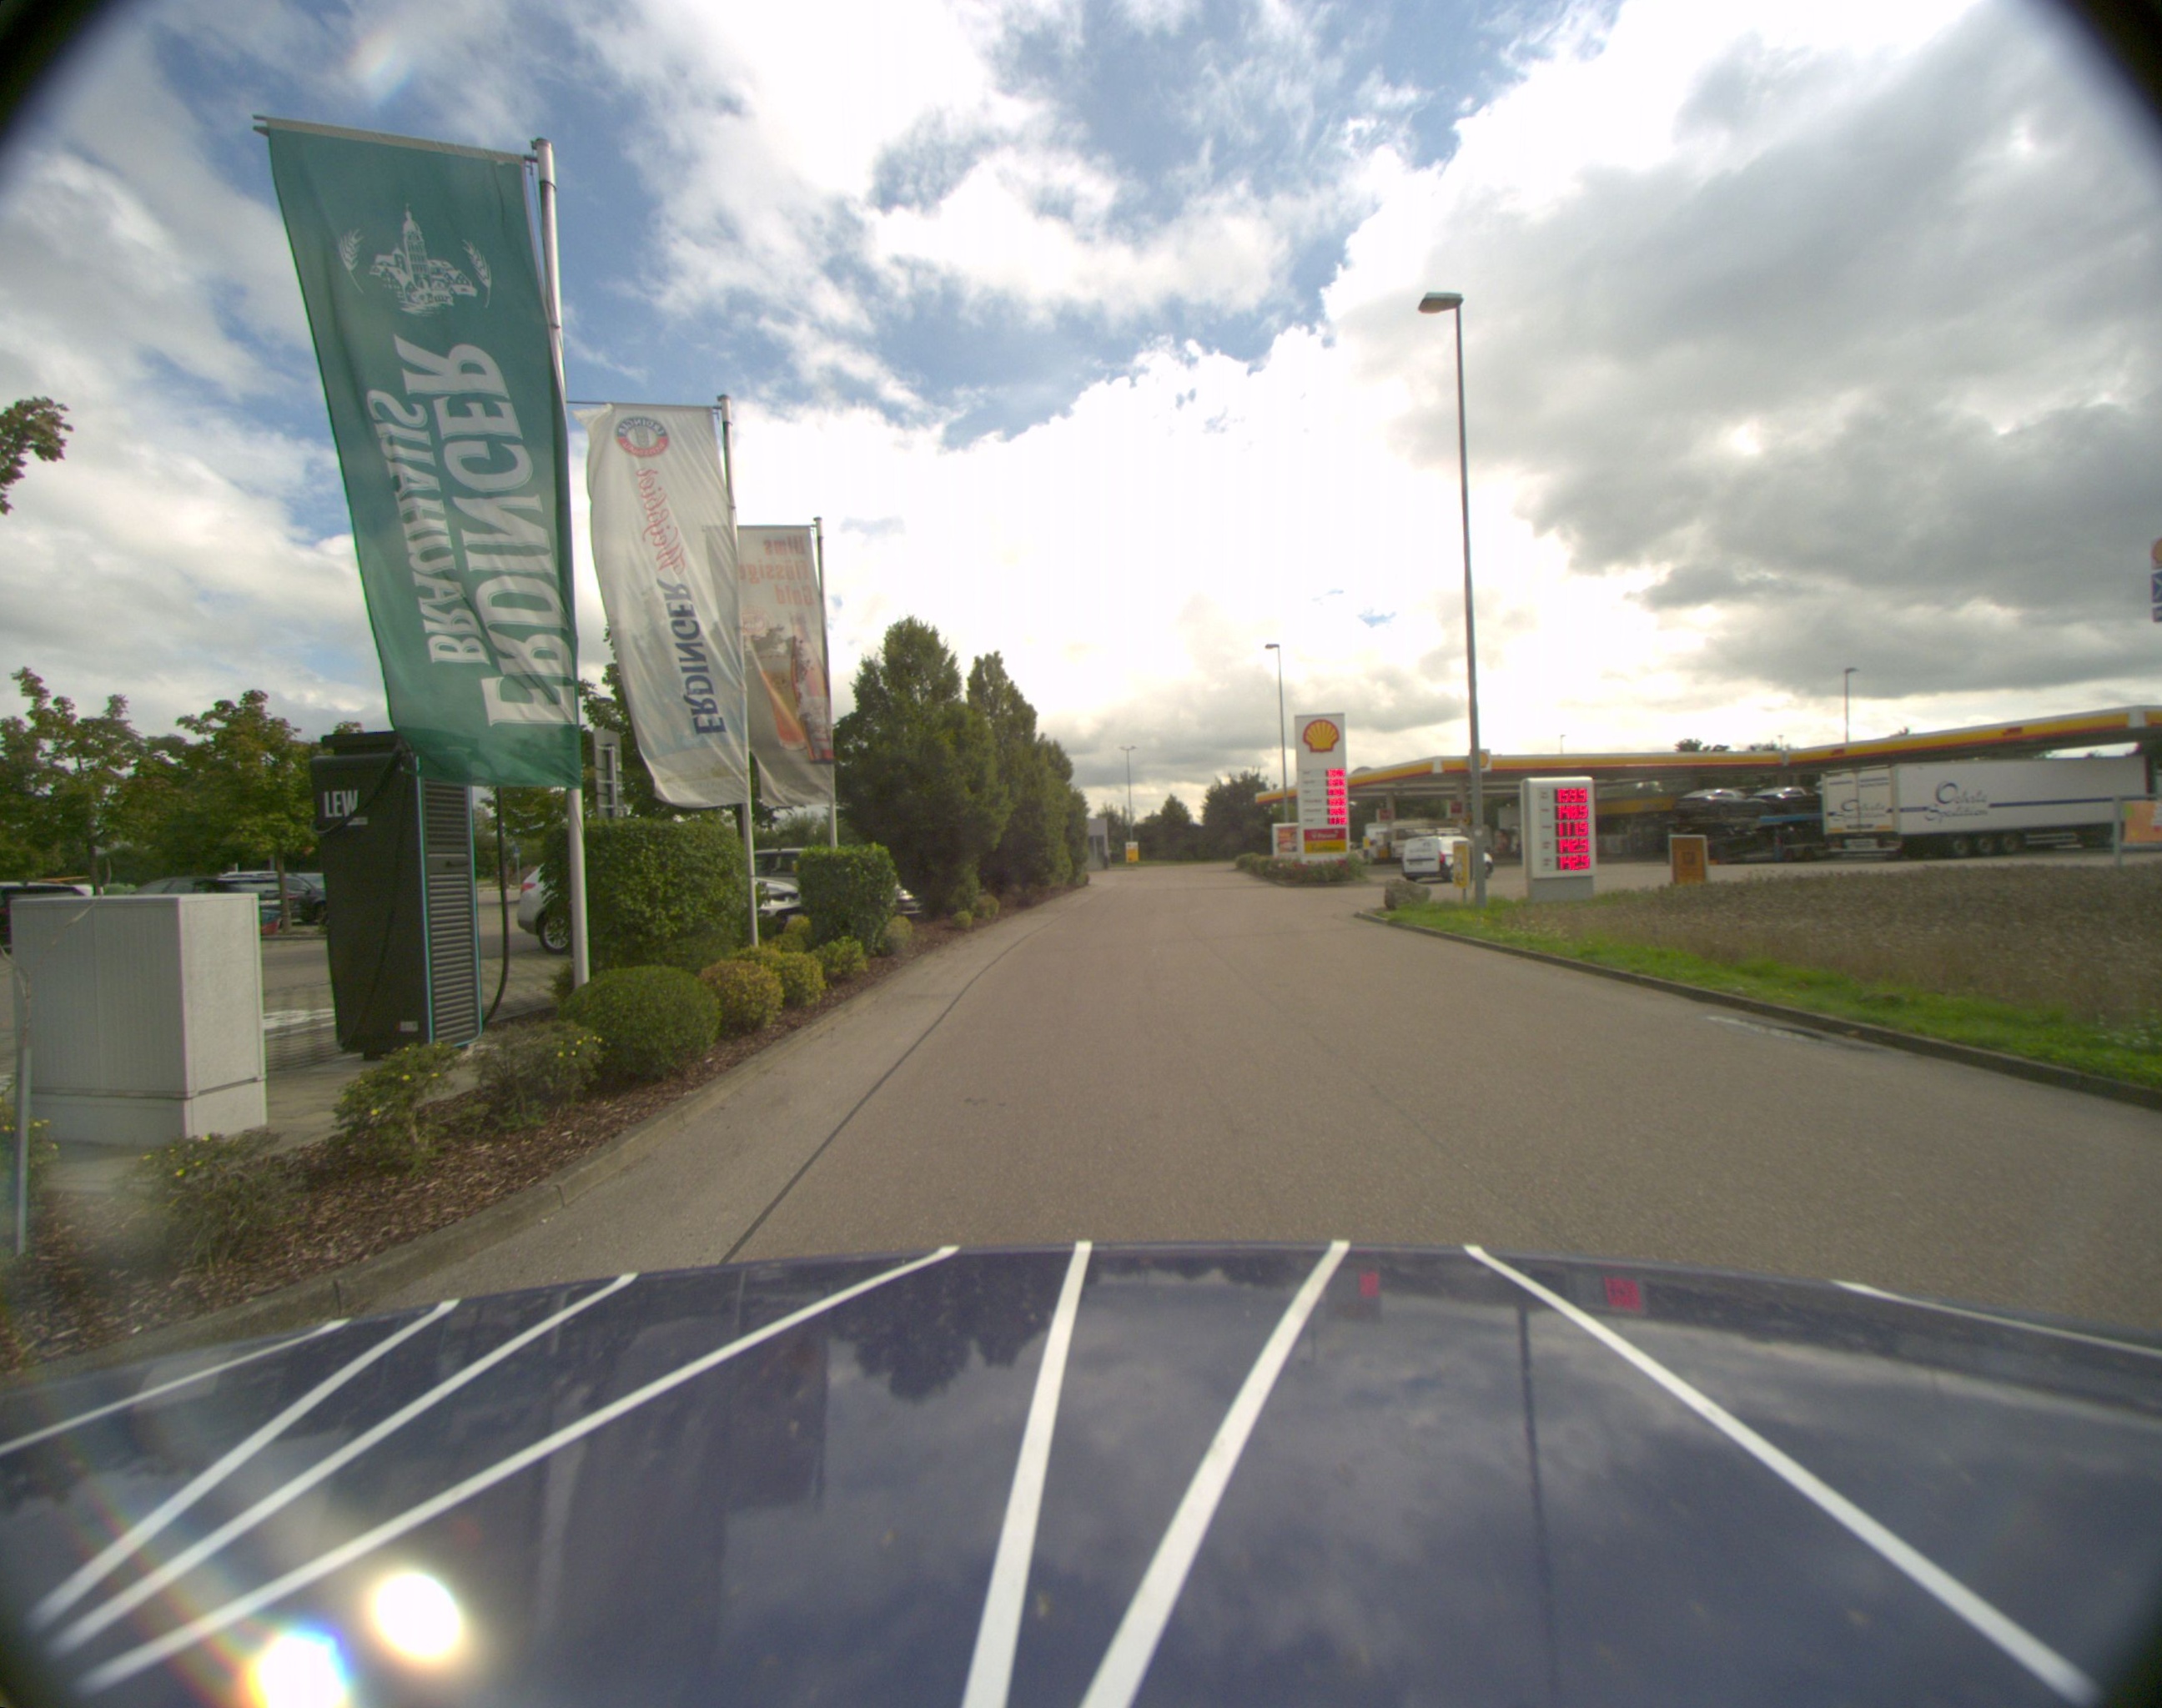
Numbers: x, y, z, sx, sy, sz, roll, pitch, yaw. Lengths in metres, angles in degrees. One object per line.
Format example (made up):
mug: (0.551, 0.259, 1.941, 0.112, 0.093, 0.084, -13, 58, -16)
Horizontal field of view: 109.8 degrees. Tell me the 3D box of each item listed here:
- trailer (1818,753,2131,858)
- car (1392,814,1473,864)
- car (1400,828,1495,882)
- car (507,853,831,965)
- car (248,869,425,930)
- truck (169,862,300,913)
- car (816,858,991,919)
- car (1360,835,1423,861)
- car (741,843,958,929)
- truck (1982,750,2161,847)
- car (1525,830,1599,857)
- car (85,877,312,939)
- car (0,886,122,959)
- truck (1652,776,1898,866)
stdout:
trailer: (38.915, -2.104, 33.124, 12.848, 4.001, 2.710, -2, 0, -10)
car: (21.282, -0.930, 45.906, 5.819, 2.770, 2.218, -2, 0, -42)
car: (14.499, 0.016, 29.988, 3.888, 2.000, 1.792, -2, 0, -38)
car: (-6.960, 0.887, 13.036, 4.672, 1.687, 1.920, -1, 1, 11)
car: (-21.810, 1.333, 22.306, 3.992, 1.562, 2.002, -2, 0, 17)
truck: (-76.113, 2.892, 68.655, 1.998, 4.097, 8.548, -3, 0, 0)
car: (-4.503, 0.875, 19.628, 3.995, 1.342, 1.726, -2, 0, 6)
car: (20.285, -0.402, 49.610, 3.968, 1.550, 1.995, -2, 0, -37)
car: (-5.177, 0.703, 17.244, 4.358, 1.706, 1.658, -2, 0, 8)
truck: (45.368, -2.465, 34.320, 7.169, 4.001, 2.710, -2, 0, -10)
car: (30.265, -0.631, 47.907, 1.717, 1.592, 3.757, -3, 0, -14)
car: (-22.750, 1.385, 19.654, 4.270, 1.338, 1.722, -2, 0, 7)
car: (-22.970, 1.448, 15.822, 4.270, 1.338, 1.722, -2, 0, 7)
truck: (34.342, -1.700, 37.466, 13.267, 3.901, 2.747, -3, 2, -18)
